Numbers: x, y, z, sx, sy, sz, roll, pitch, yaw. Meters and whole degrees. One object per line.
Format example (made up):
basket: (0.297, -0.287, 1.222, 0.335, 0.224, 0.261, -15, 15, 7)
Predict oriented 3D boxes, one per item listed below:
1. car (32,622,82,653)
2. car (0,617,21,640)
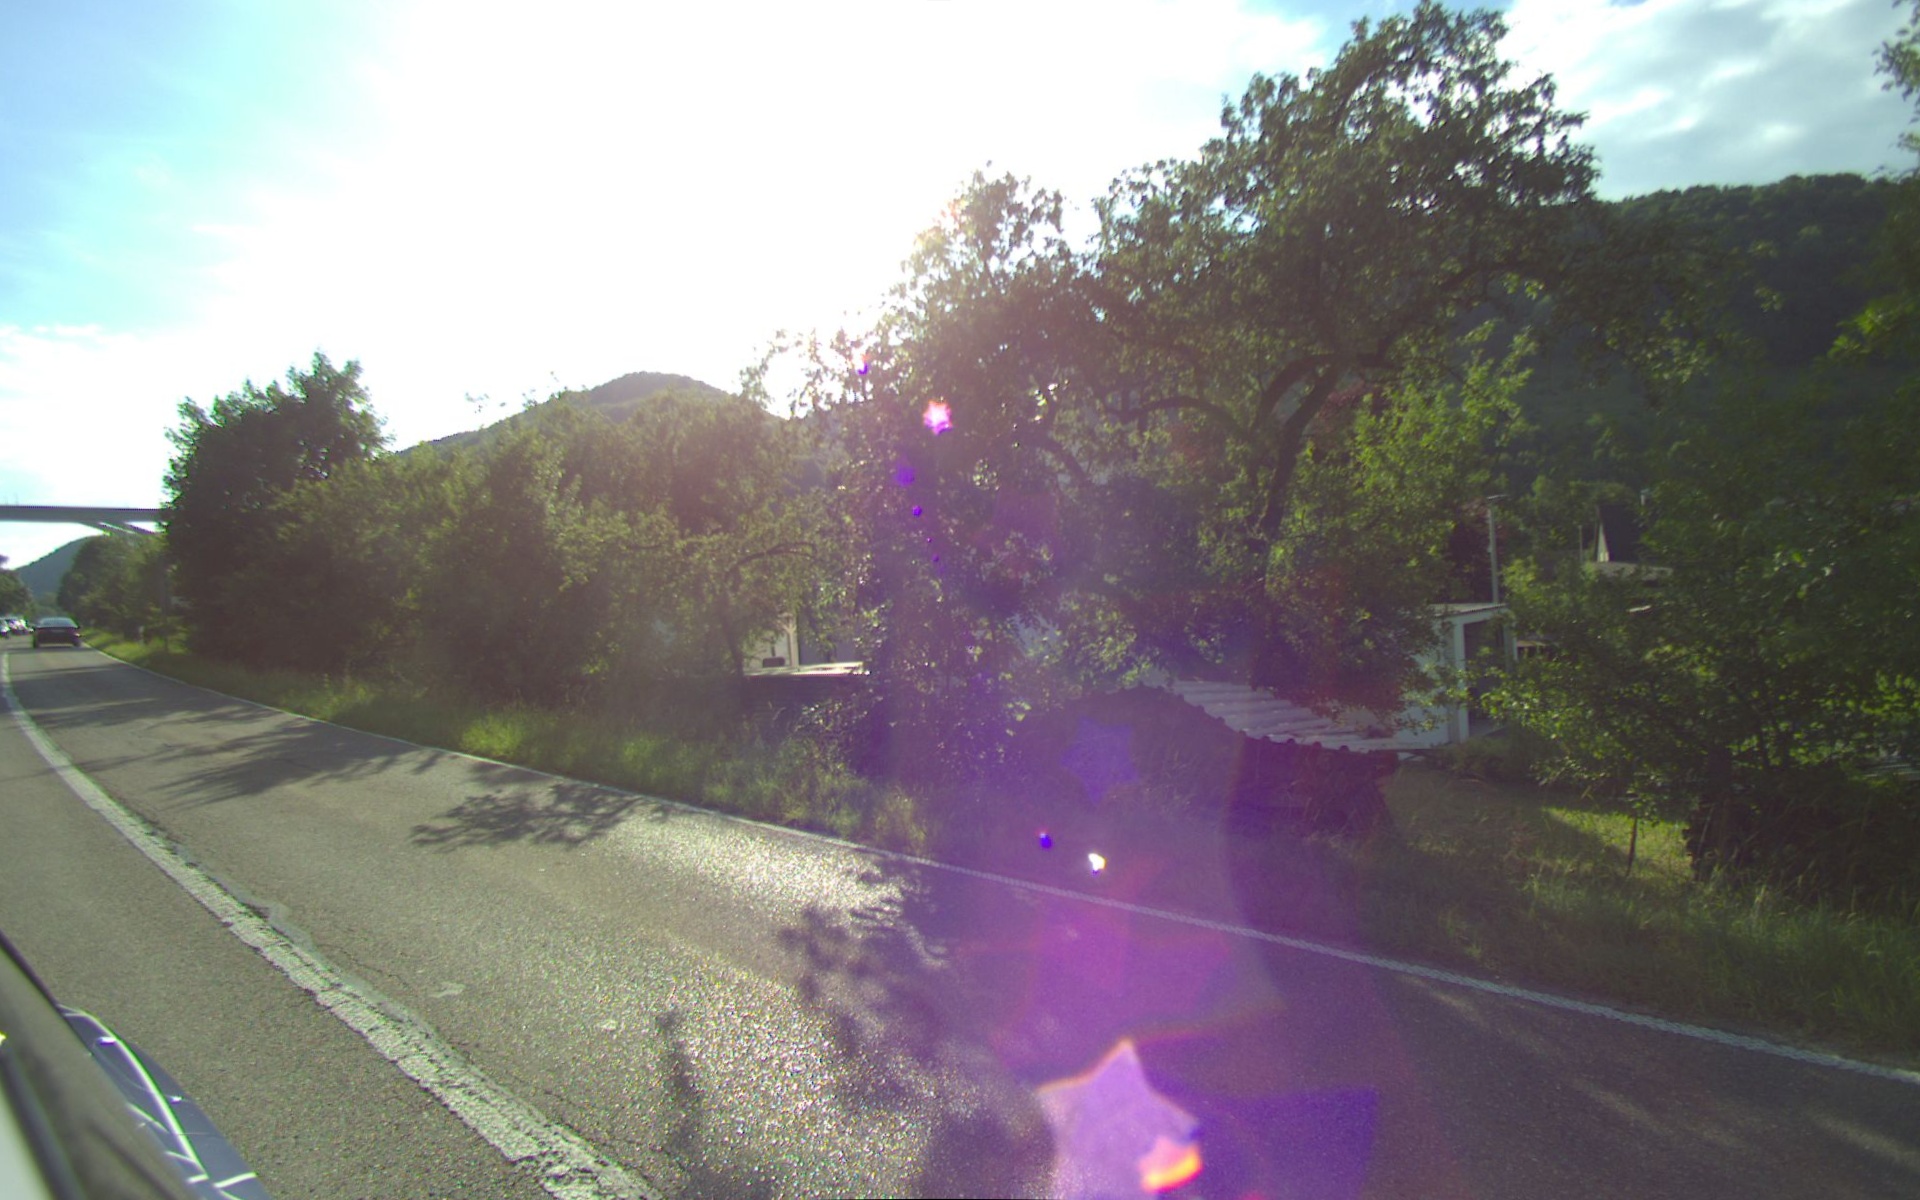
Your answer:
car: (-42.987, 1.740, 48.152, 1.576, 1.364, 4.206, -1, 0, -44)
car: (-86.998, 2.613, 92.206, 1.970, 2.029, 4.003, -1, 0, -44)
